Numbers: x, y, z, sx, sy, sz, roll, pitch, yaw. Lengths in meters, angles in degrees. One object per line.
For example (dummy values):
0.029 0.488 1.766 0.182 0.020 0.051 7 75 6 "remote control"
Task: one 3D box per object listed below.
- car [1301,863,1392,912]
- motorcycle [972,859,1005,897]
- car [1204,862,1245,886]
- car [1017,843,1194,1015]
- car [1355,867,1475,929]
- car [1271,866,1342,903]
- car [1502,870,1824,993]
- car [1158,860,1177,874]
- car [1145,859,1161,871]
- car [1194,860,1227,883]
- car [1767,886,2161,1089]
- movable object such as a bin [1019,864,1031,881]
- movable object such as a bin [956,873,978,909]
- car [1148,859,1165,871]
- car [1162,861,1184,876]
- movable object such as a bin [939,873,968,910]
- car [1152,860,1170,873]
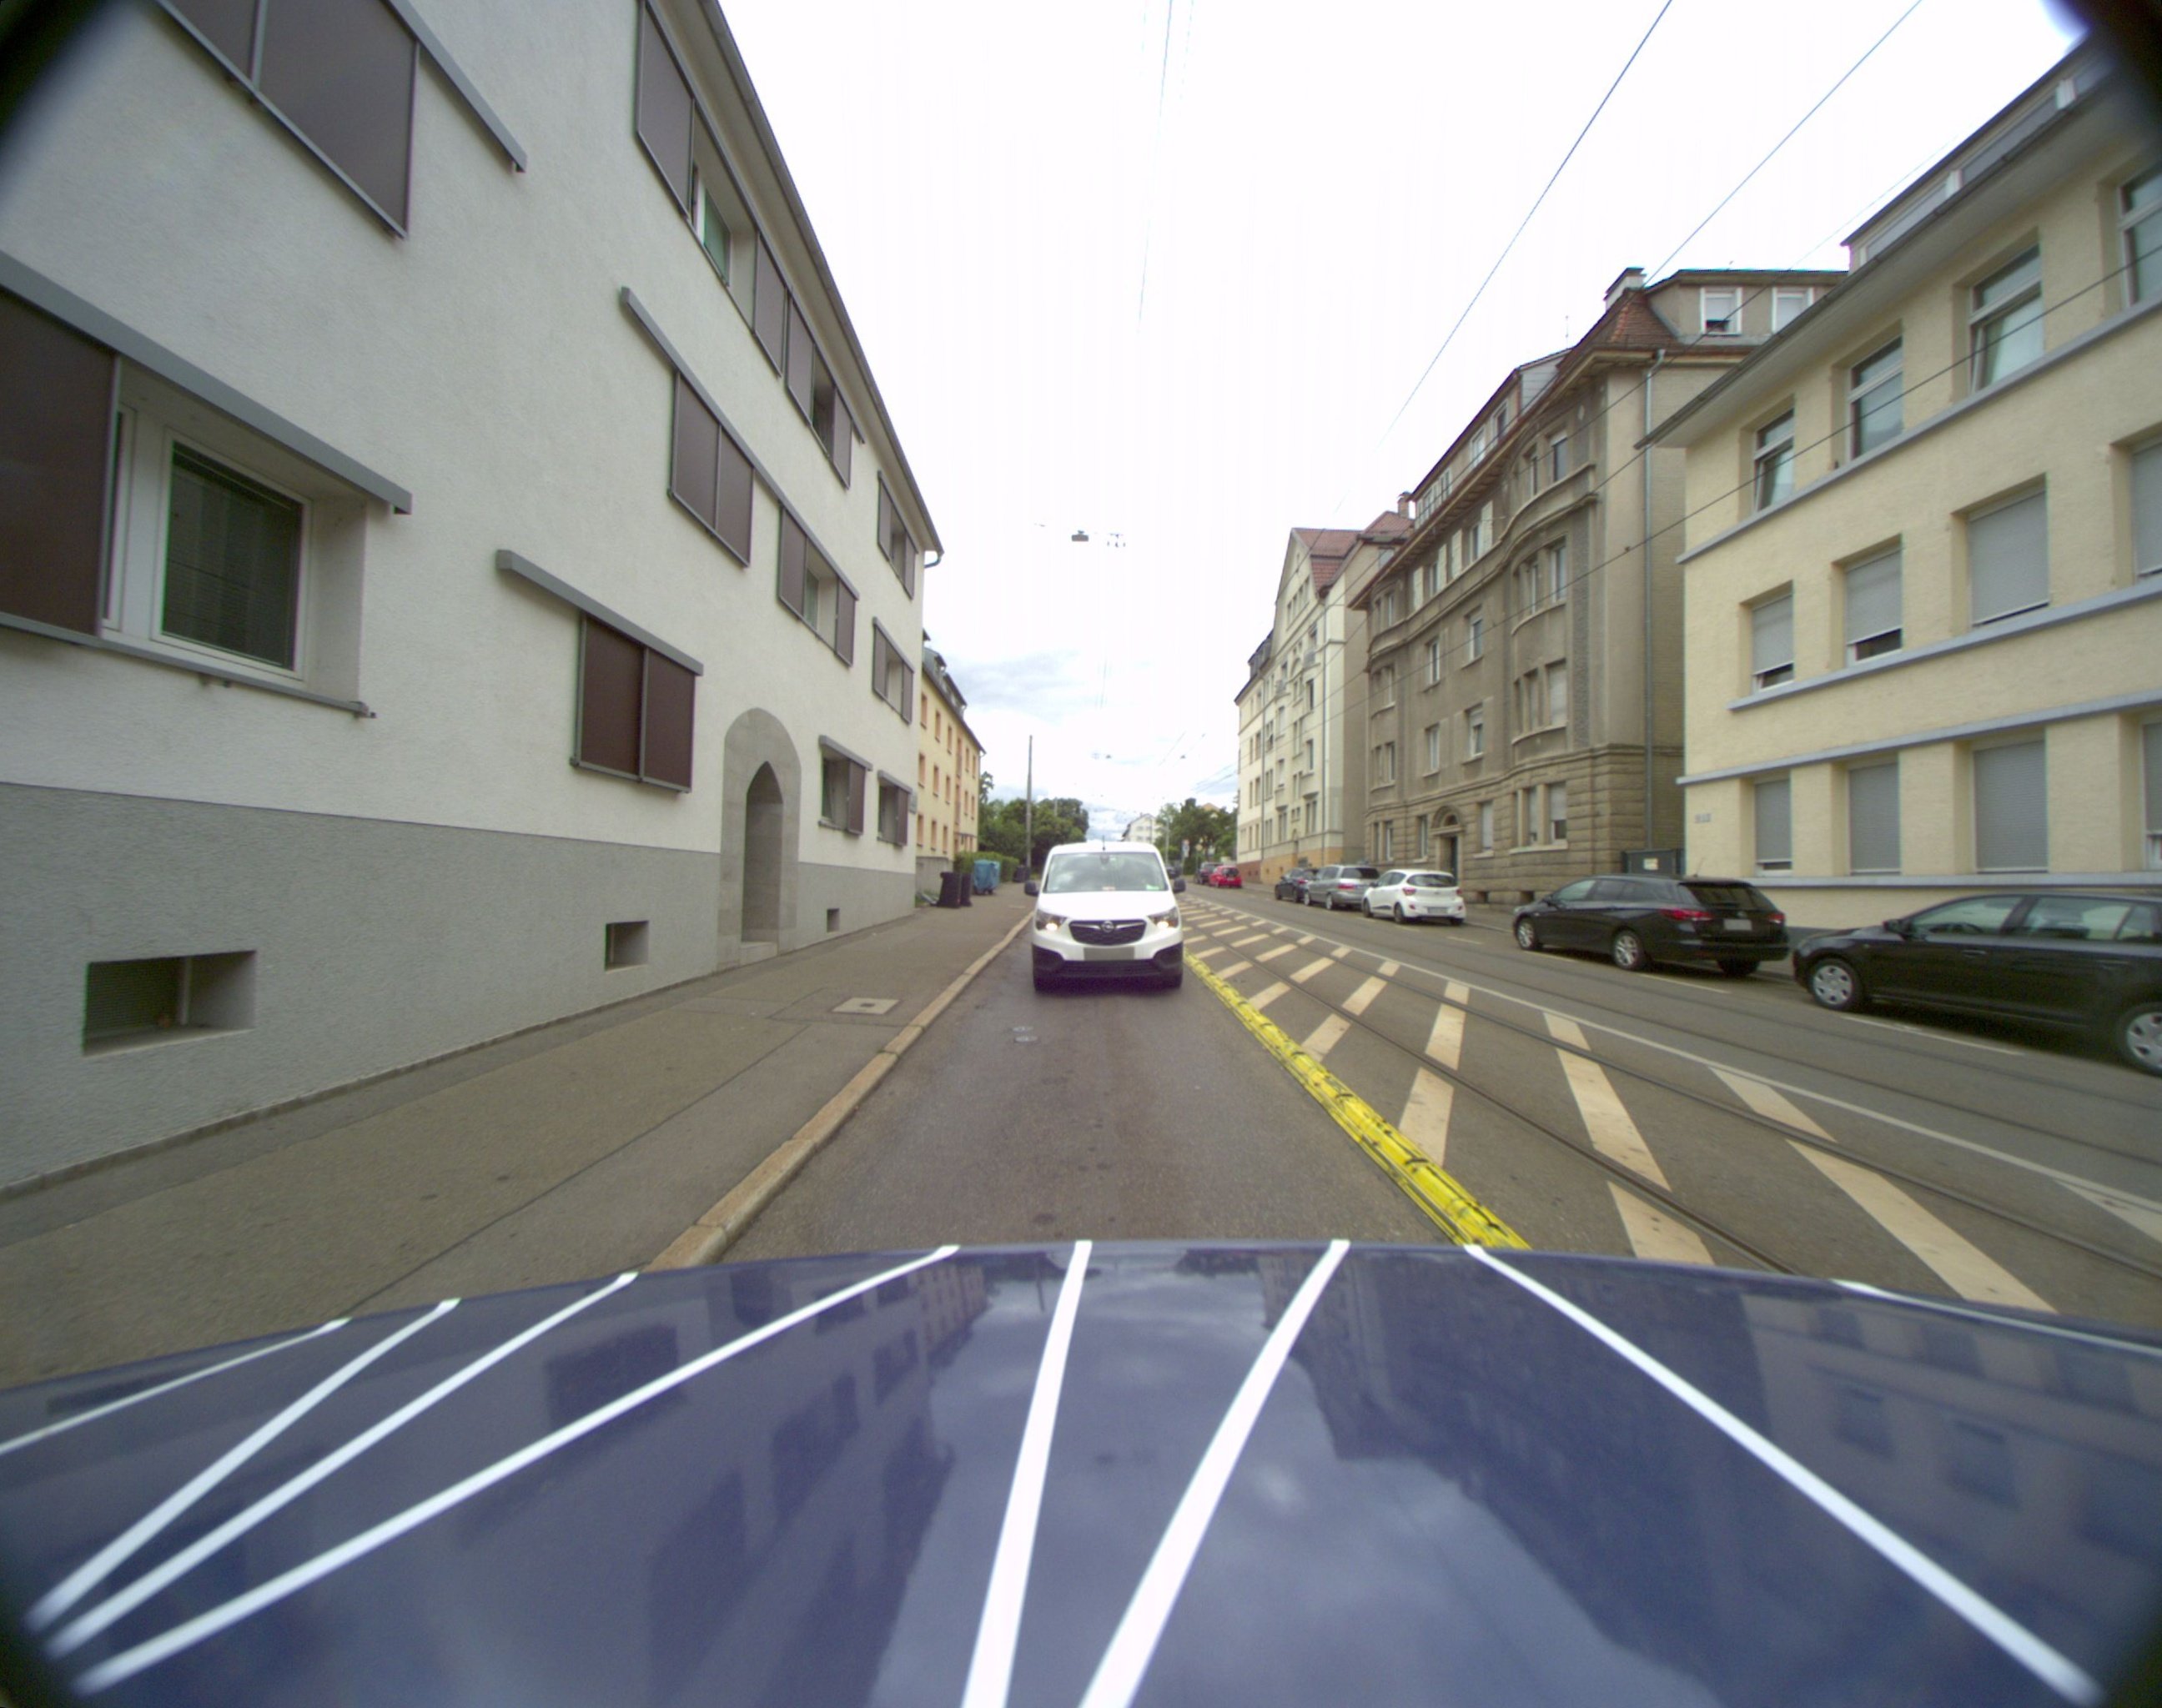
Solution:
9.301 1.119 26.994 1.743 1.558 4.143 0 0 0 "car"
-3.590 0.912 29.732 0.731 1.382 1.938 4 0 8 "motorcycle"
9.639 1.341 51.159 1.743 1.450 3.950 2 0 -3 "car"
0.303 0.813 10.504 1.888 1.827 4.677 -1 0 1 "car"
9.301 1.163 21.496 1.743 1.502 3.801 1 0 1 "car"
9.339 1.239 31.814 1.743 1.373 4.045 0 0 0 "car"
9.042 1.085 12.438 1.789 1.502 4.526 2 0 1 "car"
10.006 1.440 87.738 1.743 1.517 3.952 2 0 1 "car"
9.935 1.460 105.290 1.743 1.517 3.951 2 0 0 "car"
9.529 1.260 56.134 1.743 1.517 3.951 2 0 0 "car"
9.132 1.117 6.997 1.789 1.402 4.242 2 0 1 "car"
-3.437 1.157 46.811 0.669 1.053 0.539 0 -1 1 "movable object such as a bin"
-3.387 1.096 22.572 0.565 1.003 0.498 4 0 -8 "movable object such as a bin"
9.886 1.446 99.572 1.743 1.517 3.951 2 0 0 "car"
9.871 1.553 81.591 1.743 1.517 3.951 2 0 0 "car"
-3.634 1.068 21.694 0.637 1.003 0.603 4 0 1 "movable object such as a bin"
9.876 1.494 94.199 1.743 1.517 3.951 2 0 0 "car"
